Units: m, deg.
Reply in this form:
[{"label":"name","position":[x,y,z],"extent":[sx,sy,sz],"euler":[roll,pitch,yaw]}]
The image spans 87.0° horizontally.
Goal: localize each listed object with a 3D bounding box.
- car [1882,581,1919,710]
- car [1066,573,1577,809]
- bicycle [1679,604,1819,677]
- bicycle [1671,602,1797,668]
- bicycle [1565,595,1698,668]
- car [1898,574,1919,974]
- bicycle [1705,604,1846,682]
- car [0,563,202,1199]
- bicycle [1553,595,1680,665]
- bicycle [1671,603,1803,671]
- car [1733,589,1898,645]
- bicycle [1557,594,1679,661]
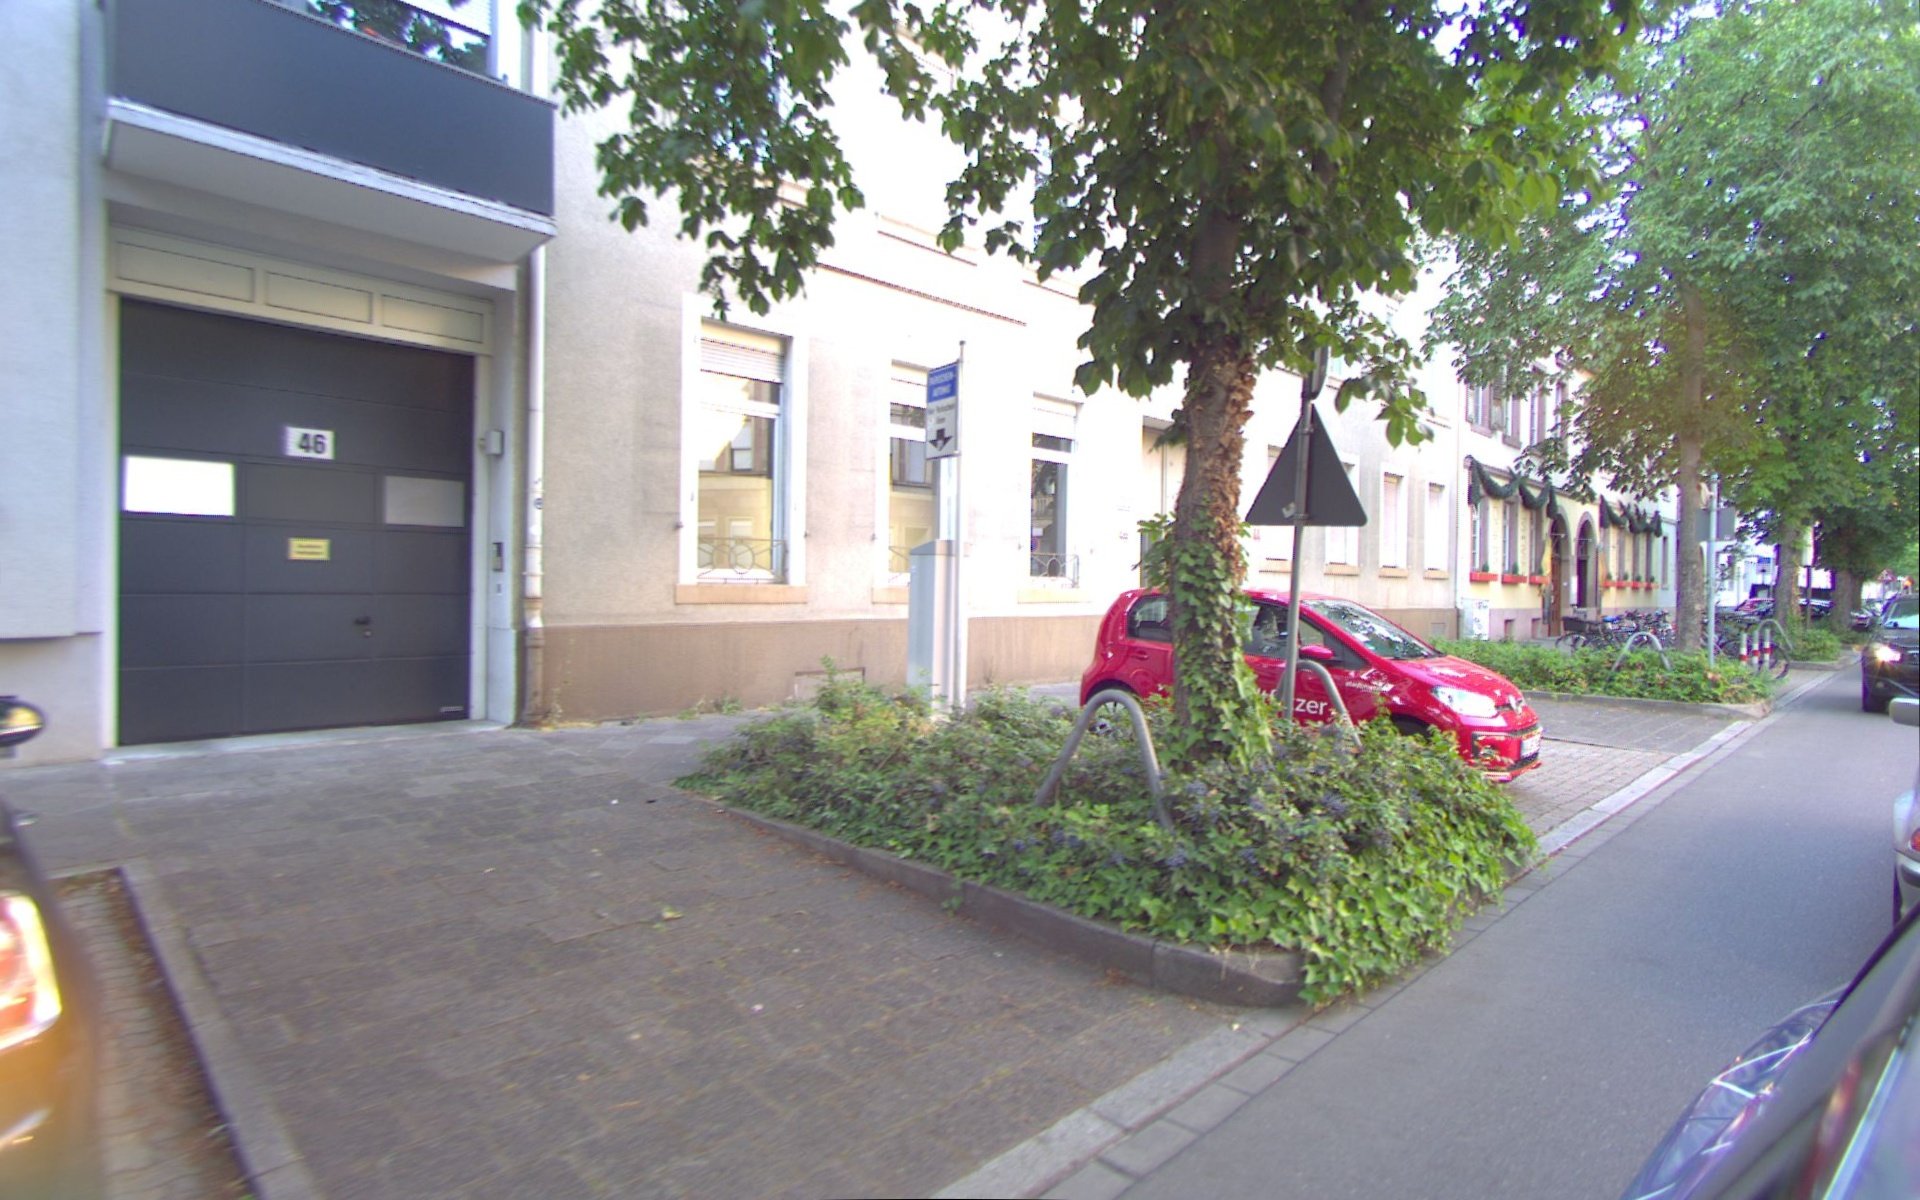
[{"label":"car","position":[13.531,0.561,13.293],"extent":[3.933,1.571,1.803],"euler":[0,1,-43]},{"label":"car","position":[2.802,0.543,8.329],"extent":[3.611,1.495,1.638],"euler":[2,1,45]},{"label":"bicycle","position":[14.706,0.724,18.904],"extent":[2.020,1.242,0.528],"euler":[2,1,41]},{"label":"bicycle","position":[15.887,0.692,20.809],"extent":[2.020,1.242,0.528],"euler":[2,1,41]},{"label":"bicycle","position":[12.428,0.558,18.786],"extent":[2.016,1.242,0.529],"euler":[2,1,35]},{"label":"car","position":[5.662,0.643,4.535],"extent":[4.359,1.460,1.710],"euler":[0,1,-41]},{"label":"bicycle","position":[14.160,0.727,17.636],"extent":[1.836,1.242,0.529],"euler":[2,1,35]},{"label":"car","position":[-3.137,0.597,2.297],"extent":[3.609,1.380,1.639],"euler":[2,1,42]},{"label":"bicycle","position":[12.671,0.547,19.587],"extent":[2.016,1.242,0.529],"euler":[2,1,35]},{"label":"bicycle","position":[15.381,0.705,20.074],"extent":[2.020,1.242,0.528],"euler":[2,1,41]},{"label":"car","position":[29.524,0.538,35.019],"extent":[1.714,1.761,4.235],"euler":[0,1,-45]},{"label":"bicycle","position":[13.336,0.530,20.559],"extent":[2.019,1.242,0.528],"euler":[2,1,39]}]
